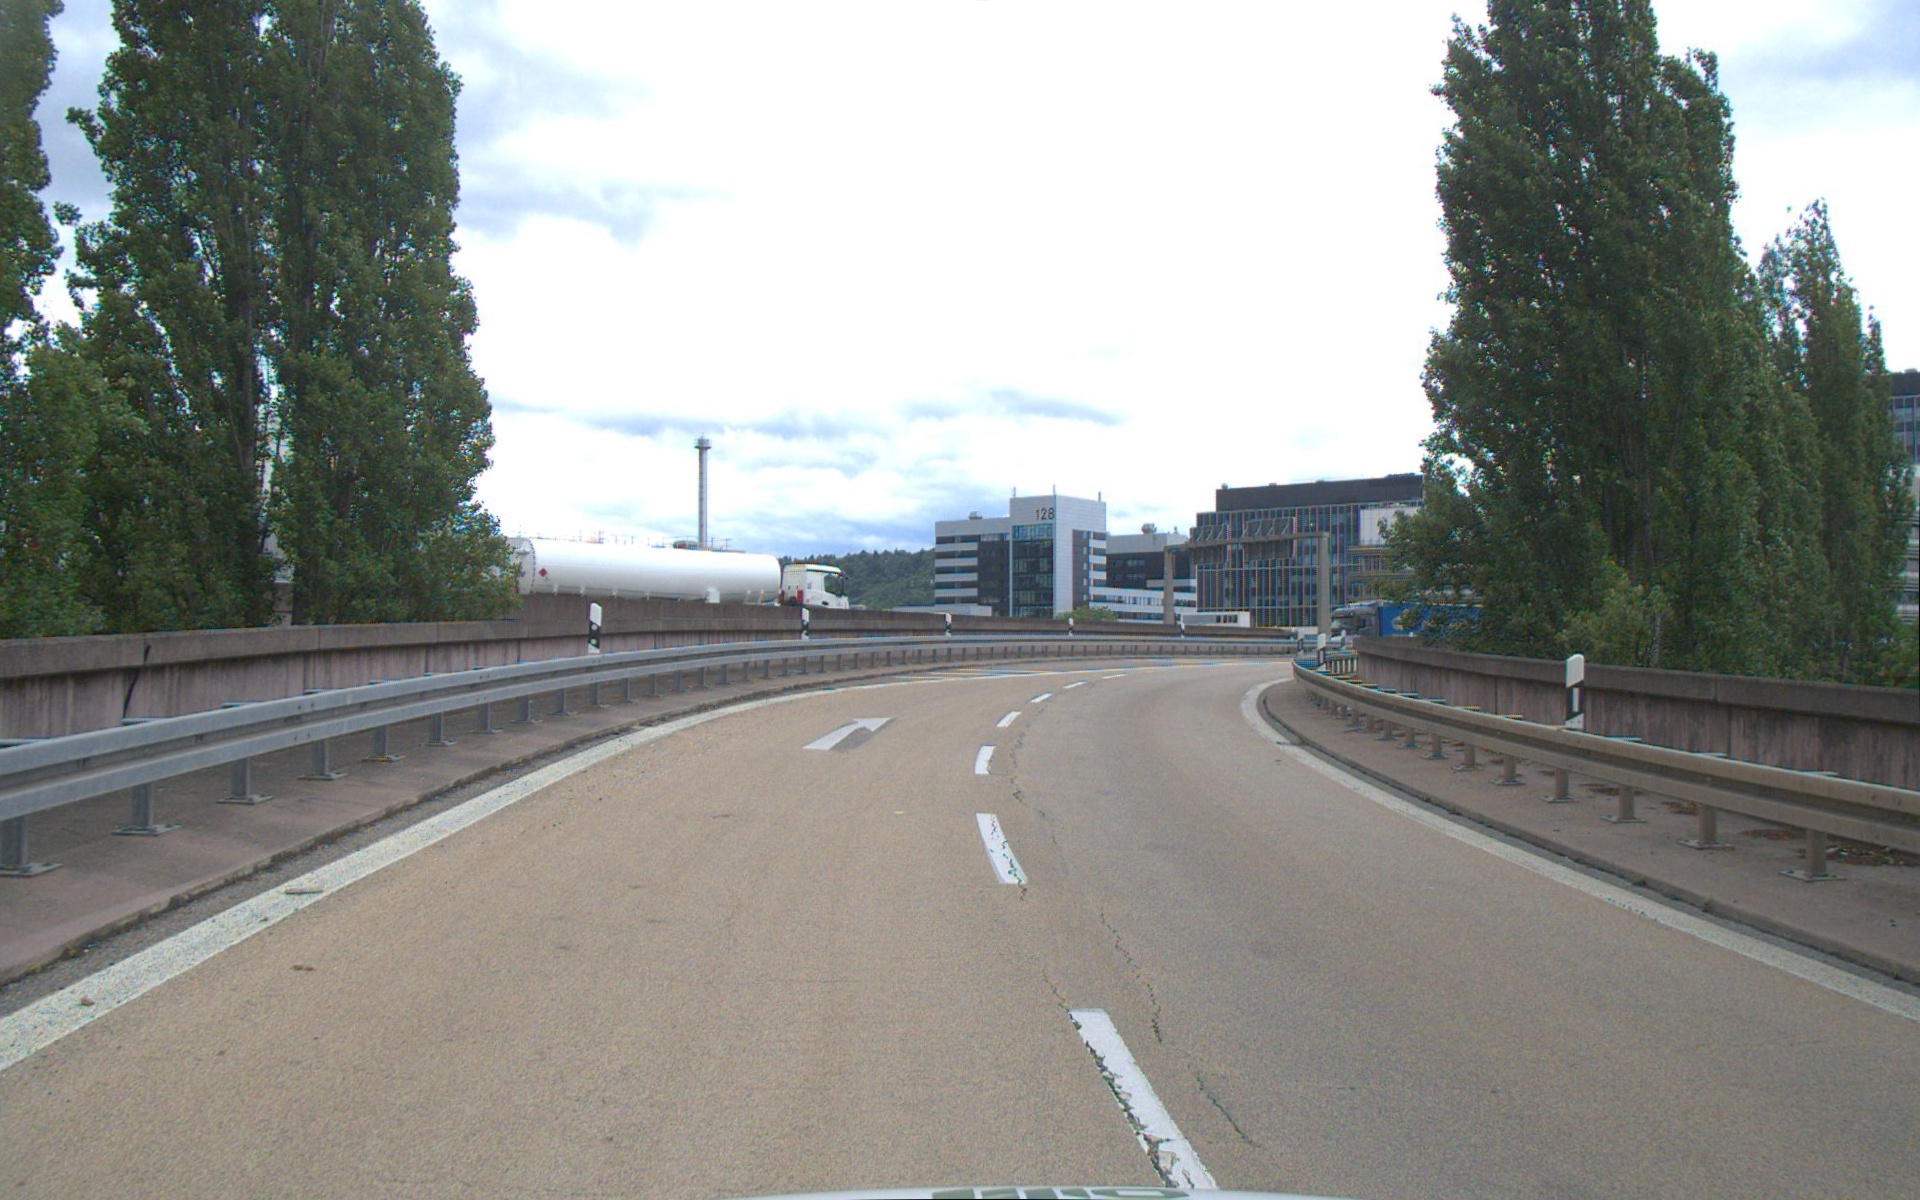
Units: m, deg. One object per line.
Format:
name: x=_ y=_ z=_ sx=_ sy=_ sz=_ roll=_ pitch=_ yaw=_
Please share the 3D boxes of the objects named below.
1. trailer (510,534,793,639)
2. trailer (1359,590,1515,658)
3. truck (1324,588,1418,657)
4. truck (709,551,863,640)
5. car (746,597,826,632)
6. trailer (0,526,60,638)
trailer: x=-12.222 y=-0.416 z=66.430 sx=11.022 sy=3.803 sz=2.767 roll=2 pitch=-2 yaw=-35
trailer: x=32.993 y=1.732 z=114.175 sx=12.361 sy=4.423 sz=3.135 roll=2 pitch=-2 yaw=-34
truck: x=27.498 y=1.561 z=110.551 sx=5.621 sy=4.423 sz=3.136 roll=2 pitch=-2 yaw=-33
truck: x=-7.329 y=-0.114 z=69.828 sx=5.894 sy=3.491 sz=2.745 roll=2 pitch=-2 yaw=-35
car: x=-8.672 y=0.718 z=82.463 sx=3.603 sy=1.544 sz=1.671 roll=2 pitch=2 yaw=-32
trailer: x=-34.768 y=-0.651 z=56.071 sx=7.225 sy=3.755 sz=2.667 roll=2 pitch=-2 yaw=-34
